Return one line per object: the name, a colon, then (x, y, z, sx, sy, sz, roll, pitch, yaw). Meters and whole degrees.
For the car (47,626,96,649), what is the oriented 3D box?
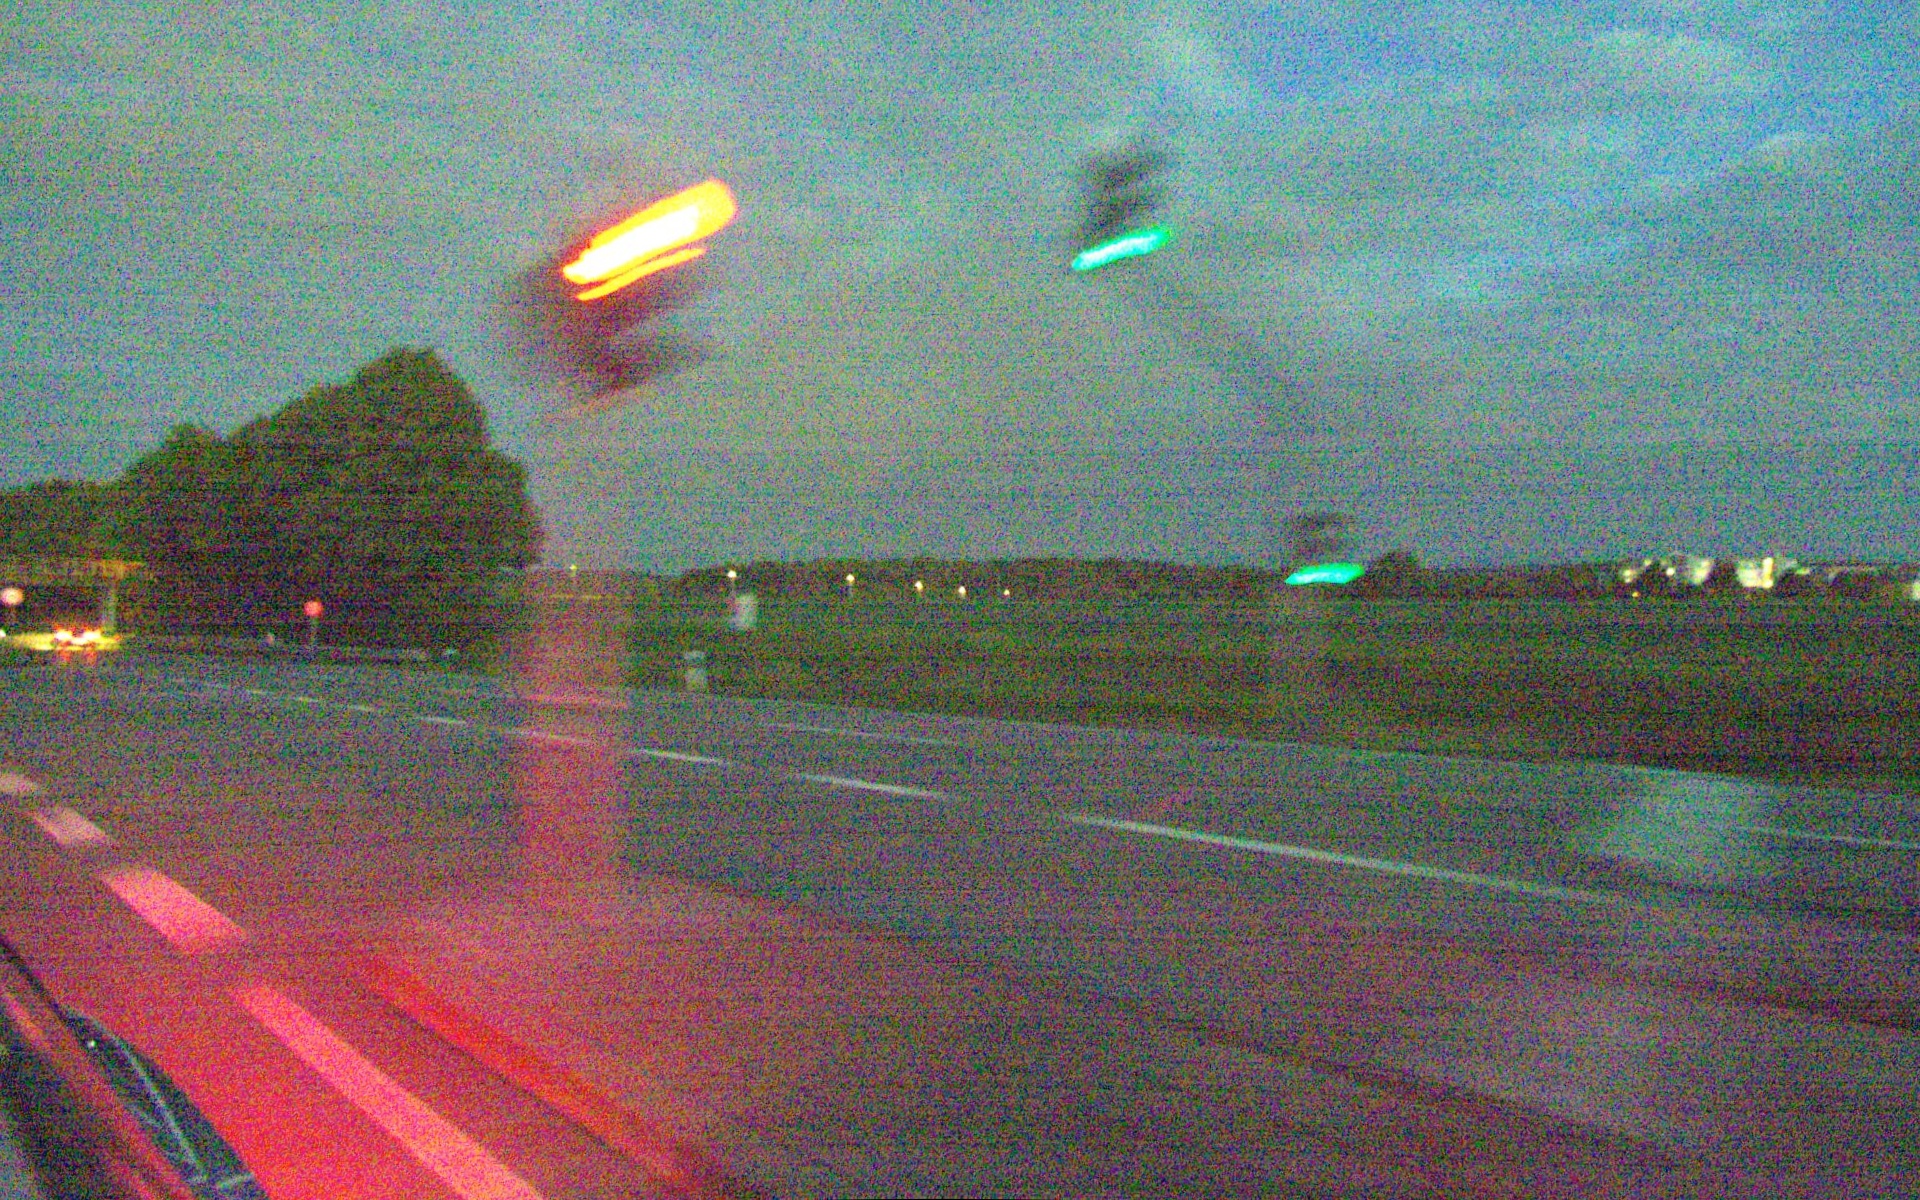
car: (-53.766, 2.268, 61.192, 3.936, 1.340, 1.589, -1, -3, 40)
